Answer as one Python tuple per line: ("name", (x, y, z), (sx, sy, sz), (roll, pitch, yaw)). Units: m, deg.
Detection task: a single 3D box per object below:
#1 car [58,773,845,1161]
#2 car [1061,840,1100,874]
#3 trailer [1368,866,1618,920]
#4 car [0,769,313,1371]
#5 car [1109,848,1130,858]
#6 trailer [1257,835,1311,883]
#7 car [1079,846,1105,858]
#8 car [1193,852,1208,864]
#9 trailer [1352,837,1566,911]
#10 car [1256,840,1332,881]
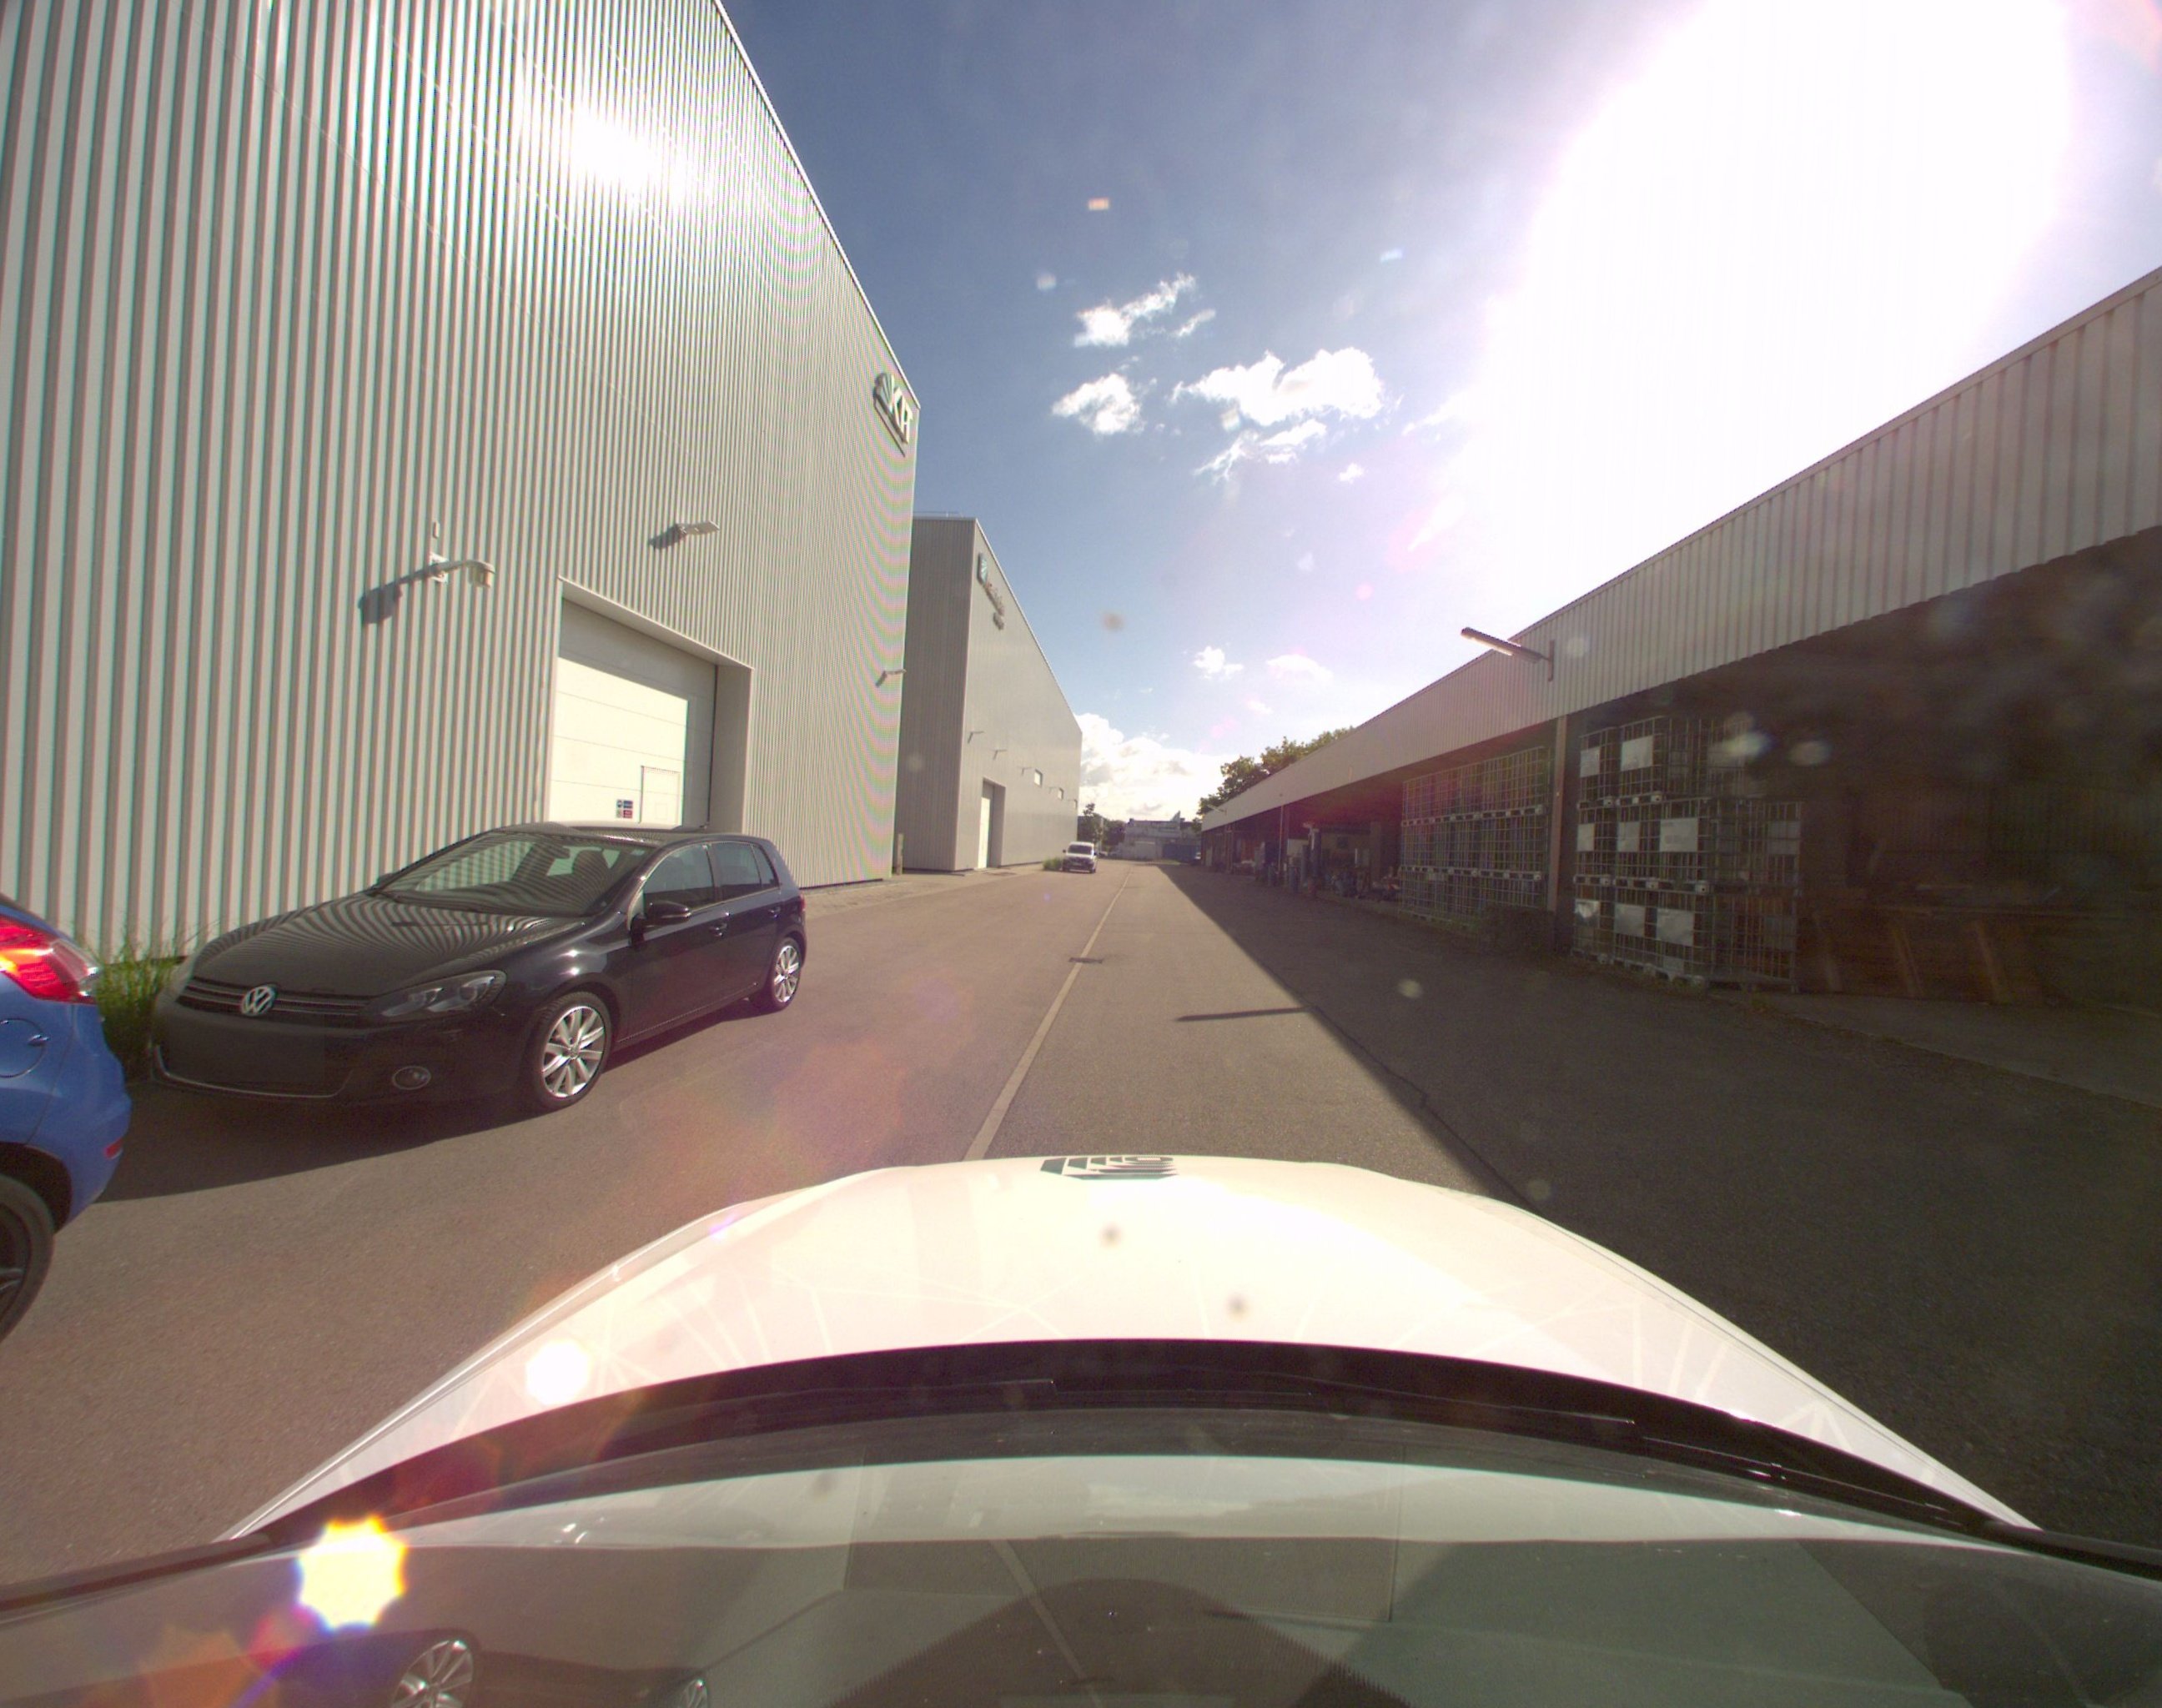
("car", (-3.325, 0.458, 5.606), (1.747, 1.500, 4.299), (5, 1, 4))
("car", (0.003, 0.151, 48.304), (1.810, 1.787, 4.411), (4, 1, 5))
("trailer", (11.251, 1.043, 22.599), (5.825, 1.133, 2.143), (2, 1, 2))
("car", (-3.554, 0.498, 0.711), (1.624, 1.500, 4.098), (5, 1, 3))
("car", (7.562, -0.265, 158.268), (3.971, 1.598, 1.849), (4, -2, 2))
("trailer", (10.967, 0.270, 44.149), (2.512, 2.399, 1.729), (3, -1, 5))
("car", (1.724, -0.242, 130.666), (3.971, 1.598, 1.742), (4, -2, 2))
("car", (17.200, 0.533, 117.245), (1.952, 1.564, 4.066), (4, 1, 6))
("trailer", (11.807, 0.594, 25.783), (5.739, 2.032, 2.081), (2, 0, 5))
("car", (13.765, 0.435, 52.788), (4.412, 2.310, 1.918), (4, -2, 4))
